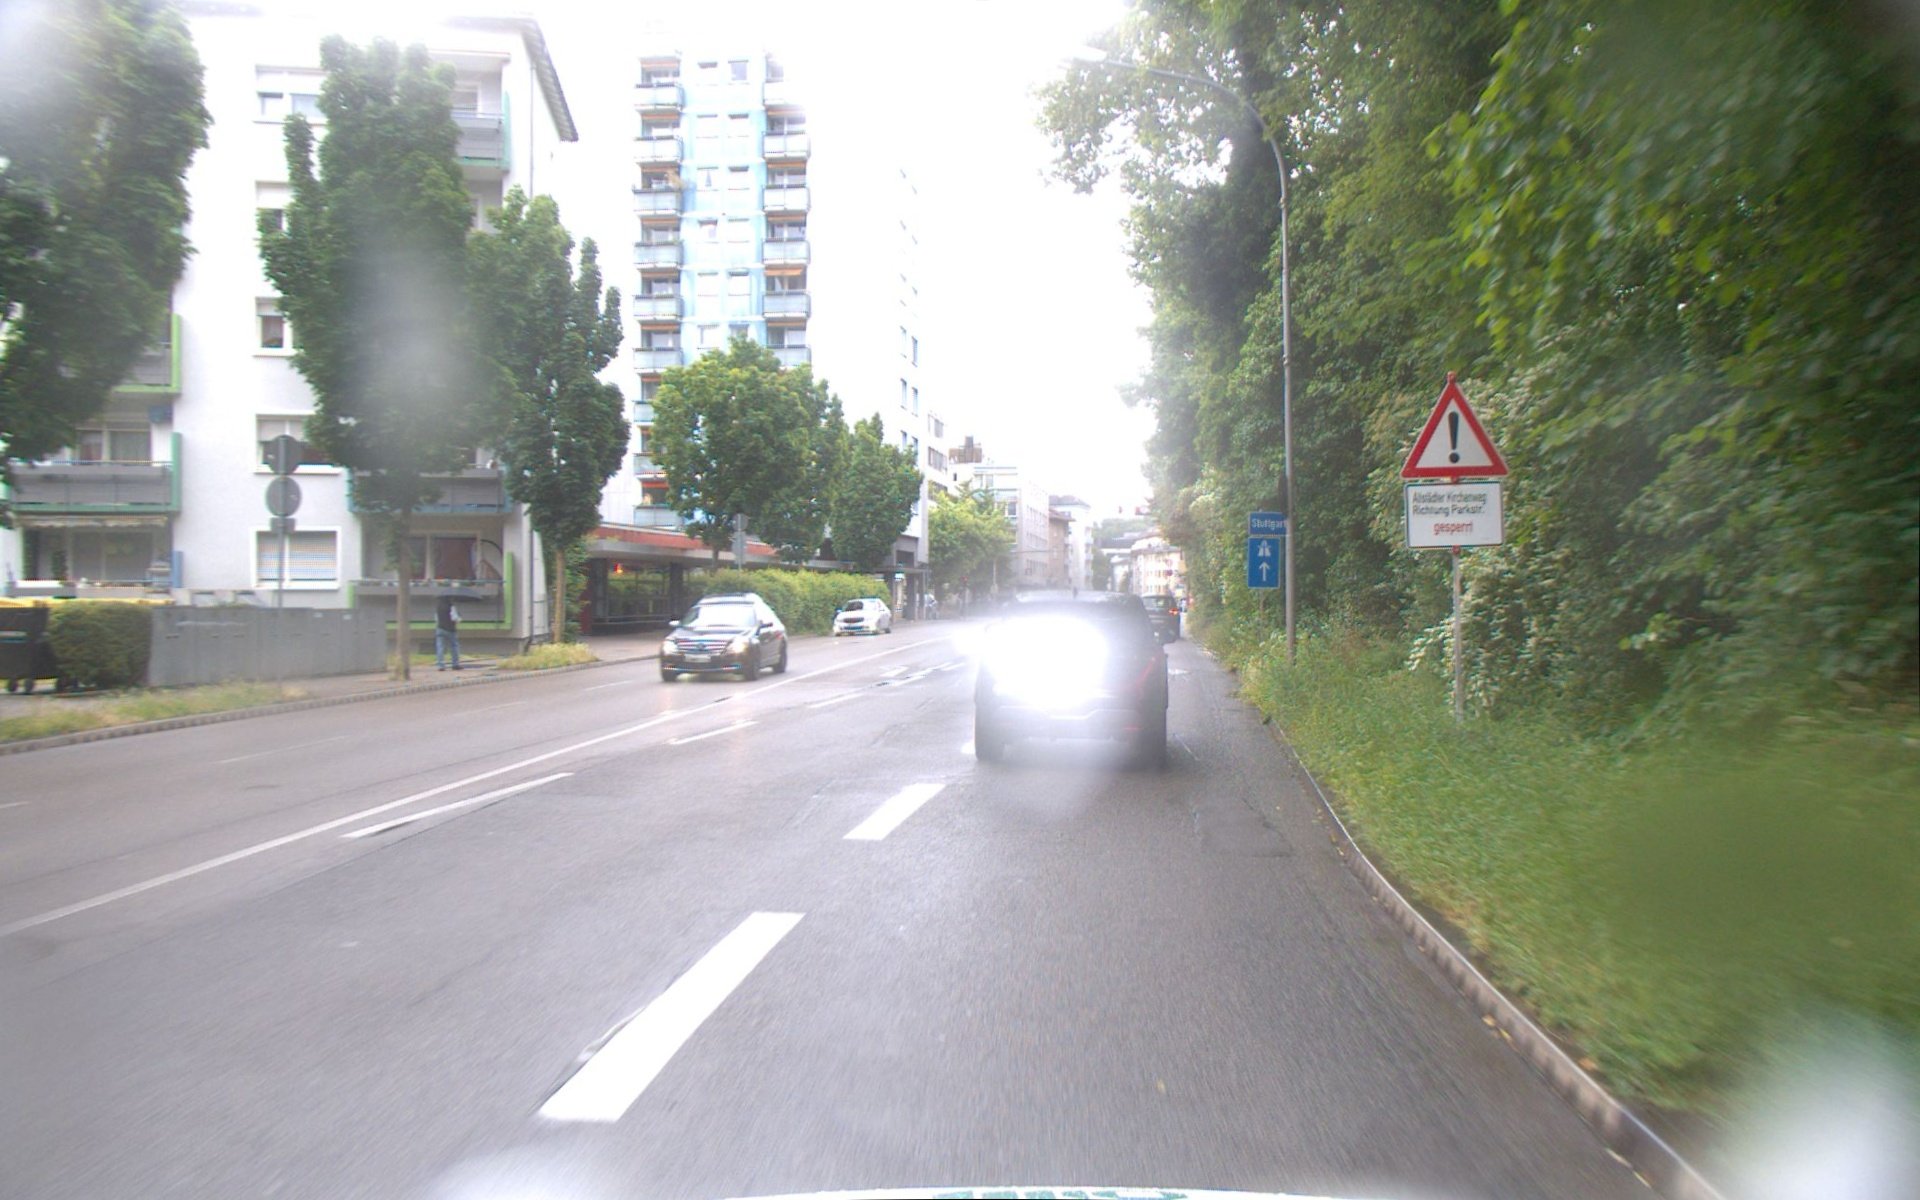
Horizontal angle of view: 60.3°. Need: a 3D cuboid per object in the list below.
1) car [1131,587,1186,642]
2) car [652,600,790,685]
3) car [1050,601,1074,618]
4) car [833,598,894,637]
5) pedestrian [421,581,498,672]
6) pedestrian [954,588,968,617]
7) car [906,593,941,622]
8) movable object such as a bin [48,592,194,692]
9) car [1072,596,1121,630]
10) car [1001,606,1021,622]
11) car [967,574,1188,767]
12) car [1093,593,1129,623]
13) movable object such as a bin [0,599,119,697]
[{"bbox_3d":[7.704,0.532,63.967,1.951,2.049,4.003,0,0,9],"label":"car"},{"bbox_3d":[-4.417,0.748,31.186,1.803,1.409,4.361,-2,0,2],"label":"car"},{"bbox_3d":[9.584,0.900,155.728,1.952,1.478,4.000,-1,0,0],"label":"car"},{"bbox_3d":[-3.795,0.658,65.720,1.834,1.415,4.629,-2,0,4],"label":"car"},{"bbox_3d":[-10.260,0.529,33.941,1.110,1.835,1.263,0,0,4],"label":"pedestrian"},{"bbox_3d":[0.060,0.168,117.085,0.921,2.049,0.886,0,0,-2],"label":"pedestrian"},{"bbox_3d":[-2.217,0.462,102.333,1.506,1.736,4.290,1,0,8],"label":"car"},{"bbox_3d":[-13.248,0.635,26.202,1.190,1.510,2.087,-1,0,1],"label":"movable object such as a bin"},{"bbox_3d":[6.372,0.585,76.845,2.022,1.490,4.590,0,0,8],"label":"car"},{"bbox_3d":[4.922,1.355,159.936,1.637,1.504,3.610,-2,0,6],"label":"car"},{"bbox_3d":[1.189,0.597,16.478,1.918,1.681,4.003,0,1,5],"label":"car"},{"bbox_3d":[7.817,0.420,85.443,1.707,1.513,4.165,-1,0,7],"label":"car"},{"bbox_3d":[-13.304,0.673,24.023,1.133,1.354,1.966,-1,0,1],"label":"movable object such as a bin"}]
